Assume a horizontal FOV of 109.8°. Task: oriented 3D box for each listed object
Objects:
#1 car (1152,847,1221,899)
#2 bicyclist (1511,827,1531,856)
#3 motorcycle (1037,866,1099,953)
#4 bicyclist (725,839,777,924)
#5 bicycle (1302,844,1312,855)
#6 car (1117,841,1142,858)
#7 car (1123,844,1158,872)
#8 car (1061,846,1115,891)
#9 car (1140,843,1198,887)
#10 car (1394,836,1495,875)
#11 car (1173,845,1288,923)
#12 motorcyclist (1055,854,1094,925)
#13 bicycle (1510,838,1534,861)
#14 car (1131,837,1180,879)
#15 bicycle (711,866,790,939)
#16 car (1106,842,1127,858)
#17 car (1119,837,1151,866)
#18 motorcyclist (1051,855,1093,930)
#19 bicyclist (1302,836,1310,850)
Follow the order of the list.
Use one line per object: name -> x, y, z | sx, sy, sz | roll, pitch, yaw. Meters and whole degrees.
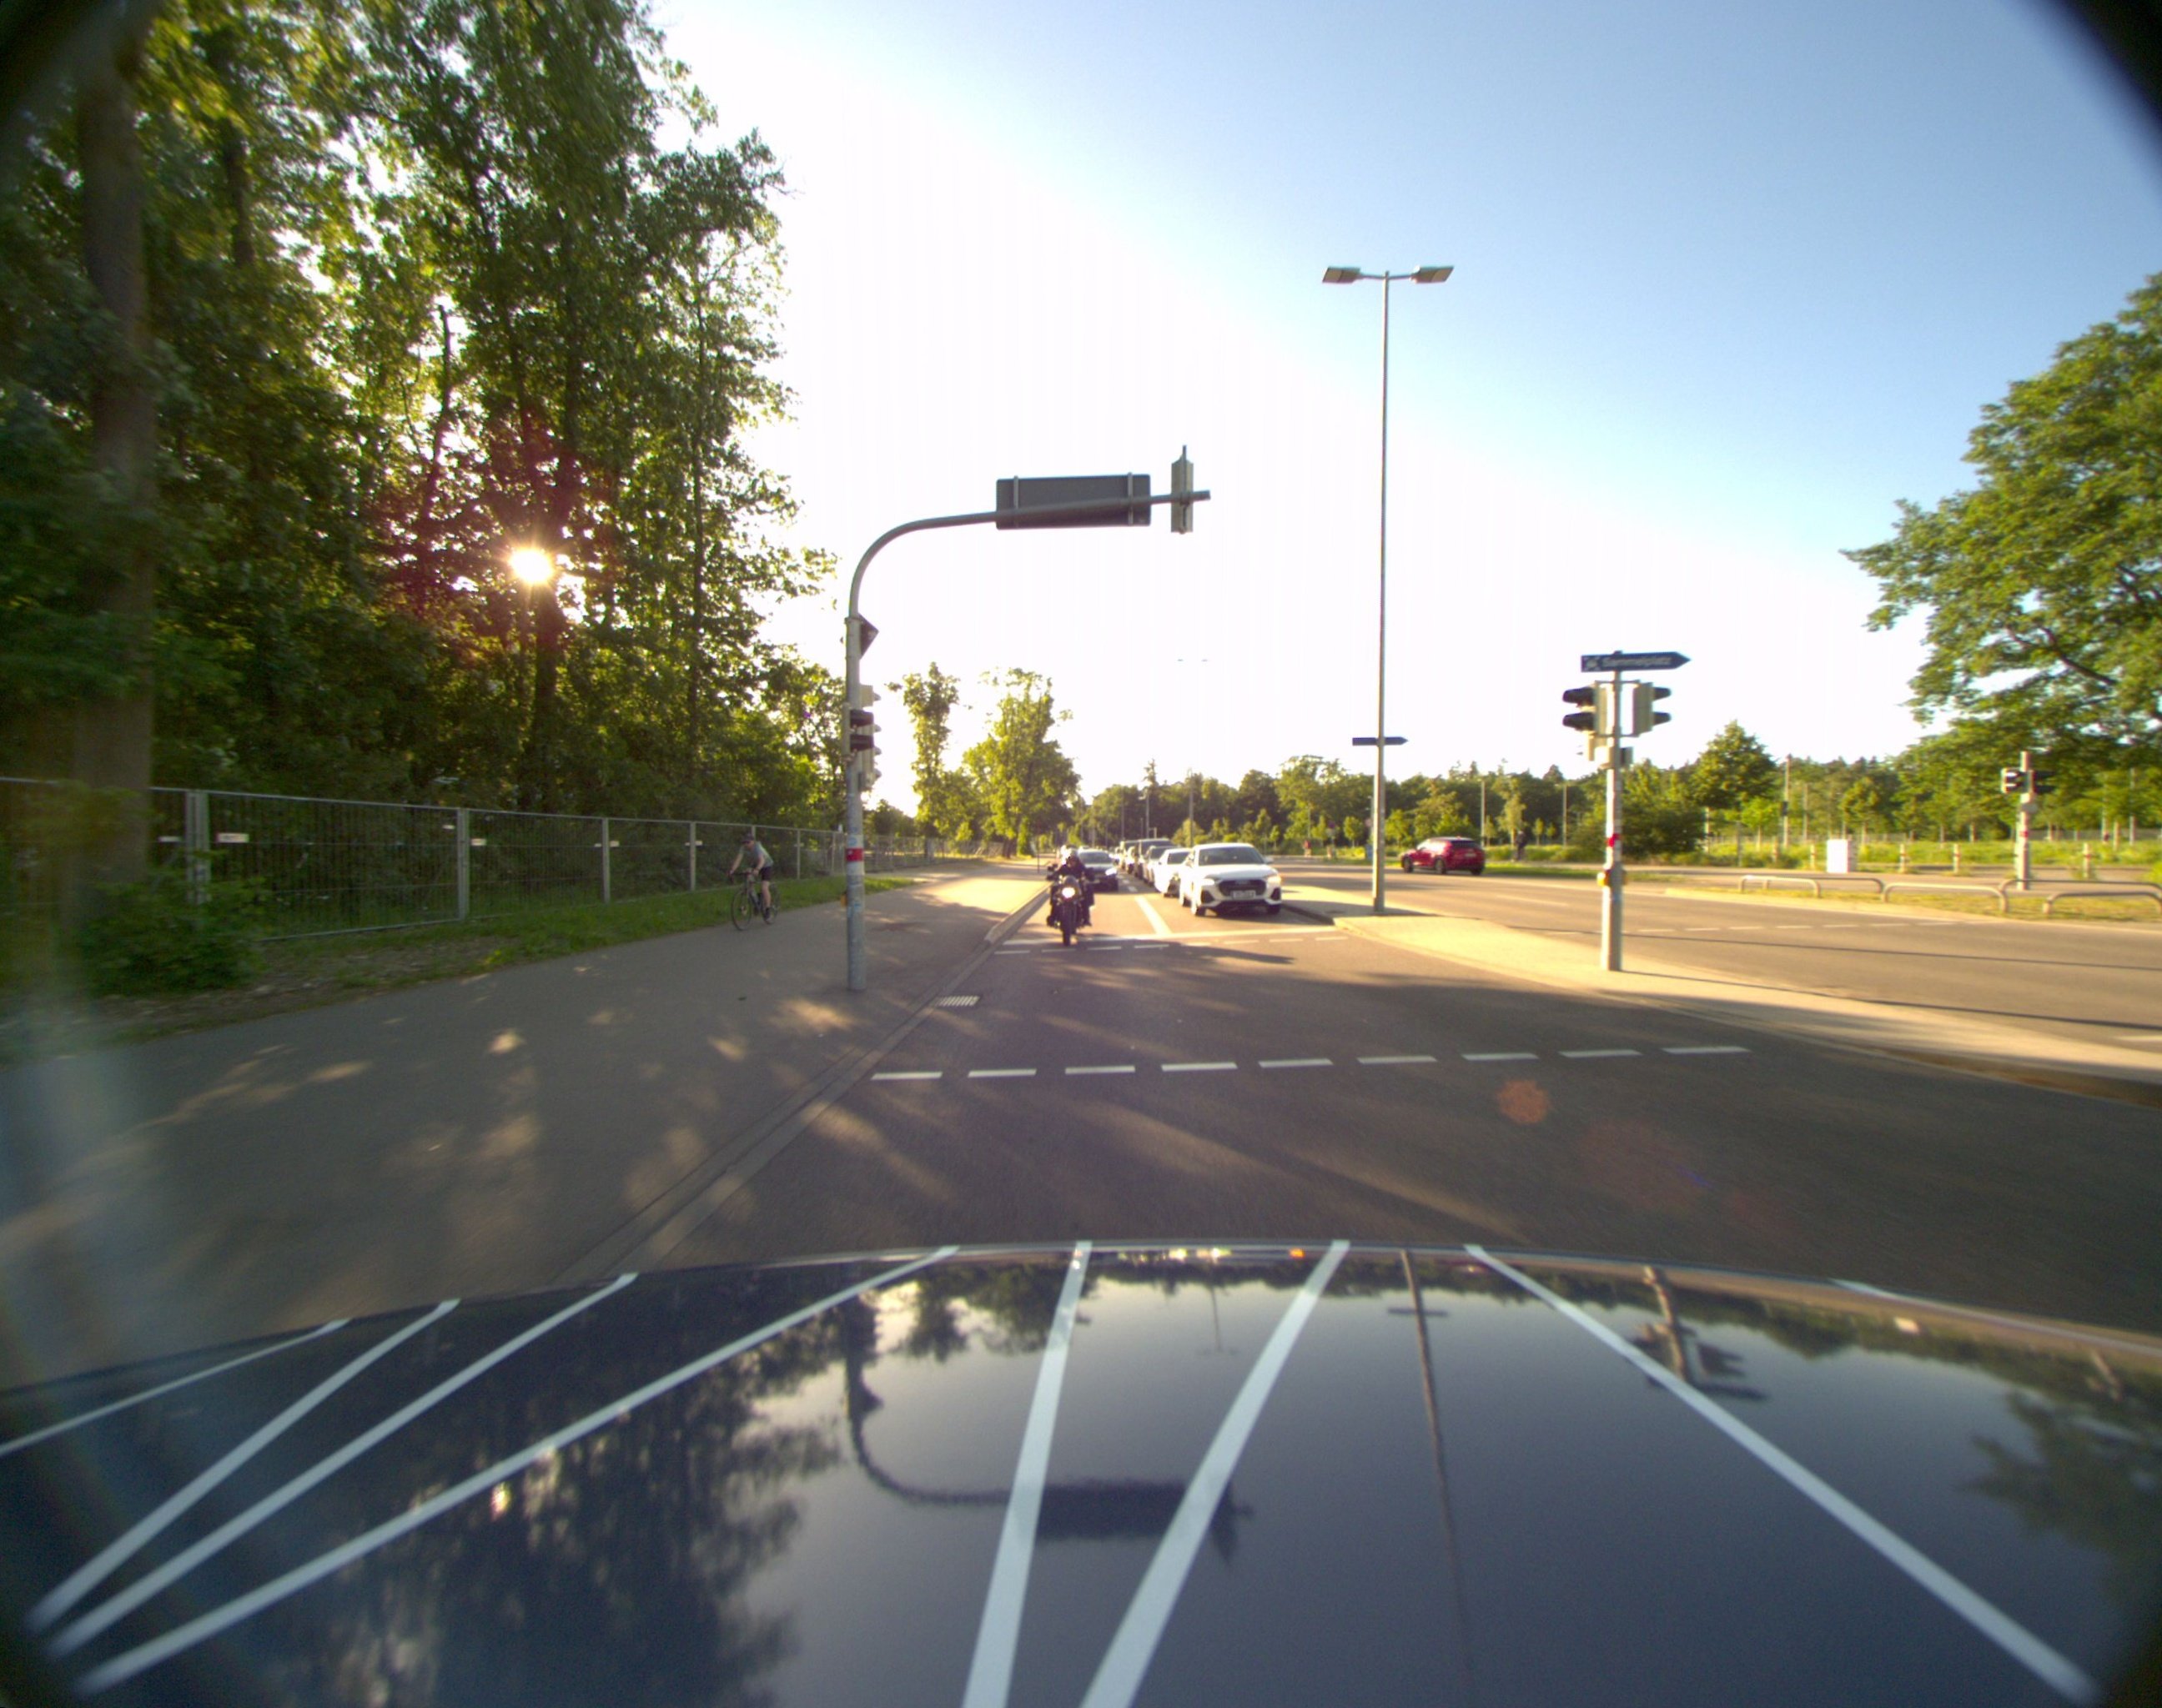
car -> 3.235, 0.539, 23.996 | 1.661, 1.419, 4.318 | -2, 1, 1
bicyclist -> 25.074, -0.728, 43.318 | 0.682, 1.602, 0.800 | -2, 2, 9
motorcycle -> -0.170, 0.892, 13.399 | 0.916, 1.243, 2.962 | -2, 1, 1
bicyclist -> -5.844, 0.458, 13.483 | 0.521, 1.461, 0.861 | 0, 2, 1
bicycle -> 23.227, -0.464, 78.172 | 0.584, 1.013, 1.362 | -2, 1, 2
car -> 4.289, -0.403, 67.725 | 1.896, 1.389, 4.639 | -2, 1, 0
car -> 3.496, 0.193, 45.090 | 1.736, 1.560, 4.102 | -2, 1, 0
car -> 0.270, 0.497, 29.476 | 1.867, 1.538, 4.795 | -2, 1, 0
car -> 3.431, 0.366, 30.329 | 1.797, 1.574, 4.320 | -2, 1, 0
car -> 16.022, 0.042, 33.777 | 1.892, 1.544, 4.569 | -2, 1, -6
car -> 3.272, 0.576, 17.442 | 1.838, 1.504, 4.300 | -2, 1, 1
motorcyclist -> -0.114, 0.656, 14.417 | 0.671, 1.257, 0.826 | -2, 1, 1
bicycle -> 25.090, -0.271, 43.263 | 0.494, 1.230, 1.795 | -2, 1, 8
car -> 3.589, 0.160, 37.343 | 1.884, 1.862, 5.234 | -2, 1, 0
bicycle -> -5.841, 0.817, 13.546 | 0.555, 1.131, 1.864 | 1, 1, 1
car -> 3.680, -0.436, 79.318 | 1.896, 1.479, 4.639 | -2, 1, 0
car -> 3.738, -0.186, 53.717 | 1.867, 1.882, 5.067 | -2, 1, 0
motorcyclist -> -0.142, 0.661, 13.536 | 0.671, 1.257, 0.826 | -2, 1, 1
bicyclist -> 23.106, -1.110, 77.994 | 0.593, 1.405, 0.800 | -2, 2, 3
